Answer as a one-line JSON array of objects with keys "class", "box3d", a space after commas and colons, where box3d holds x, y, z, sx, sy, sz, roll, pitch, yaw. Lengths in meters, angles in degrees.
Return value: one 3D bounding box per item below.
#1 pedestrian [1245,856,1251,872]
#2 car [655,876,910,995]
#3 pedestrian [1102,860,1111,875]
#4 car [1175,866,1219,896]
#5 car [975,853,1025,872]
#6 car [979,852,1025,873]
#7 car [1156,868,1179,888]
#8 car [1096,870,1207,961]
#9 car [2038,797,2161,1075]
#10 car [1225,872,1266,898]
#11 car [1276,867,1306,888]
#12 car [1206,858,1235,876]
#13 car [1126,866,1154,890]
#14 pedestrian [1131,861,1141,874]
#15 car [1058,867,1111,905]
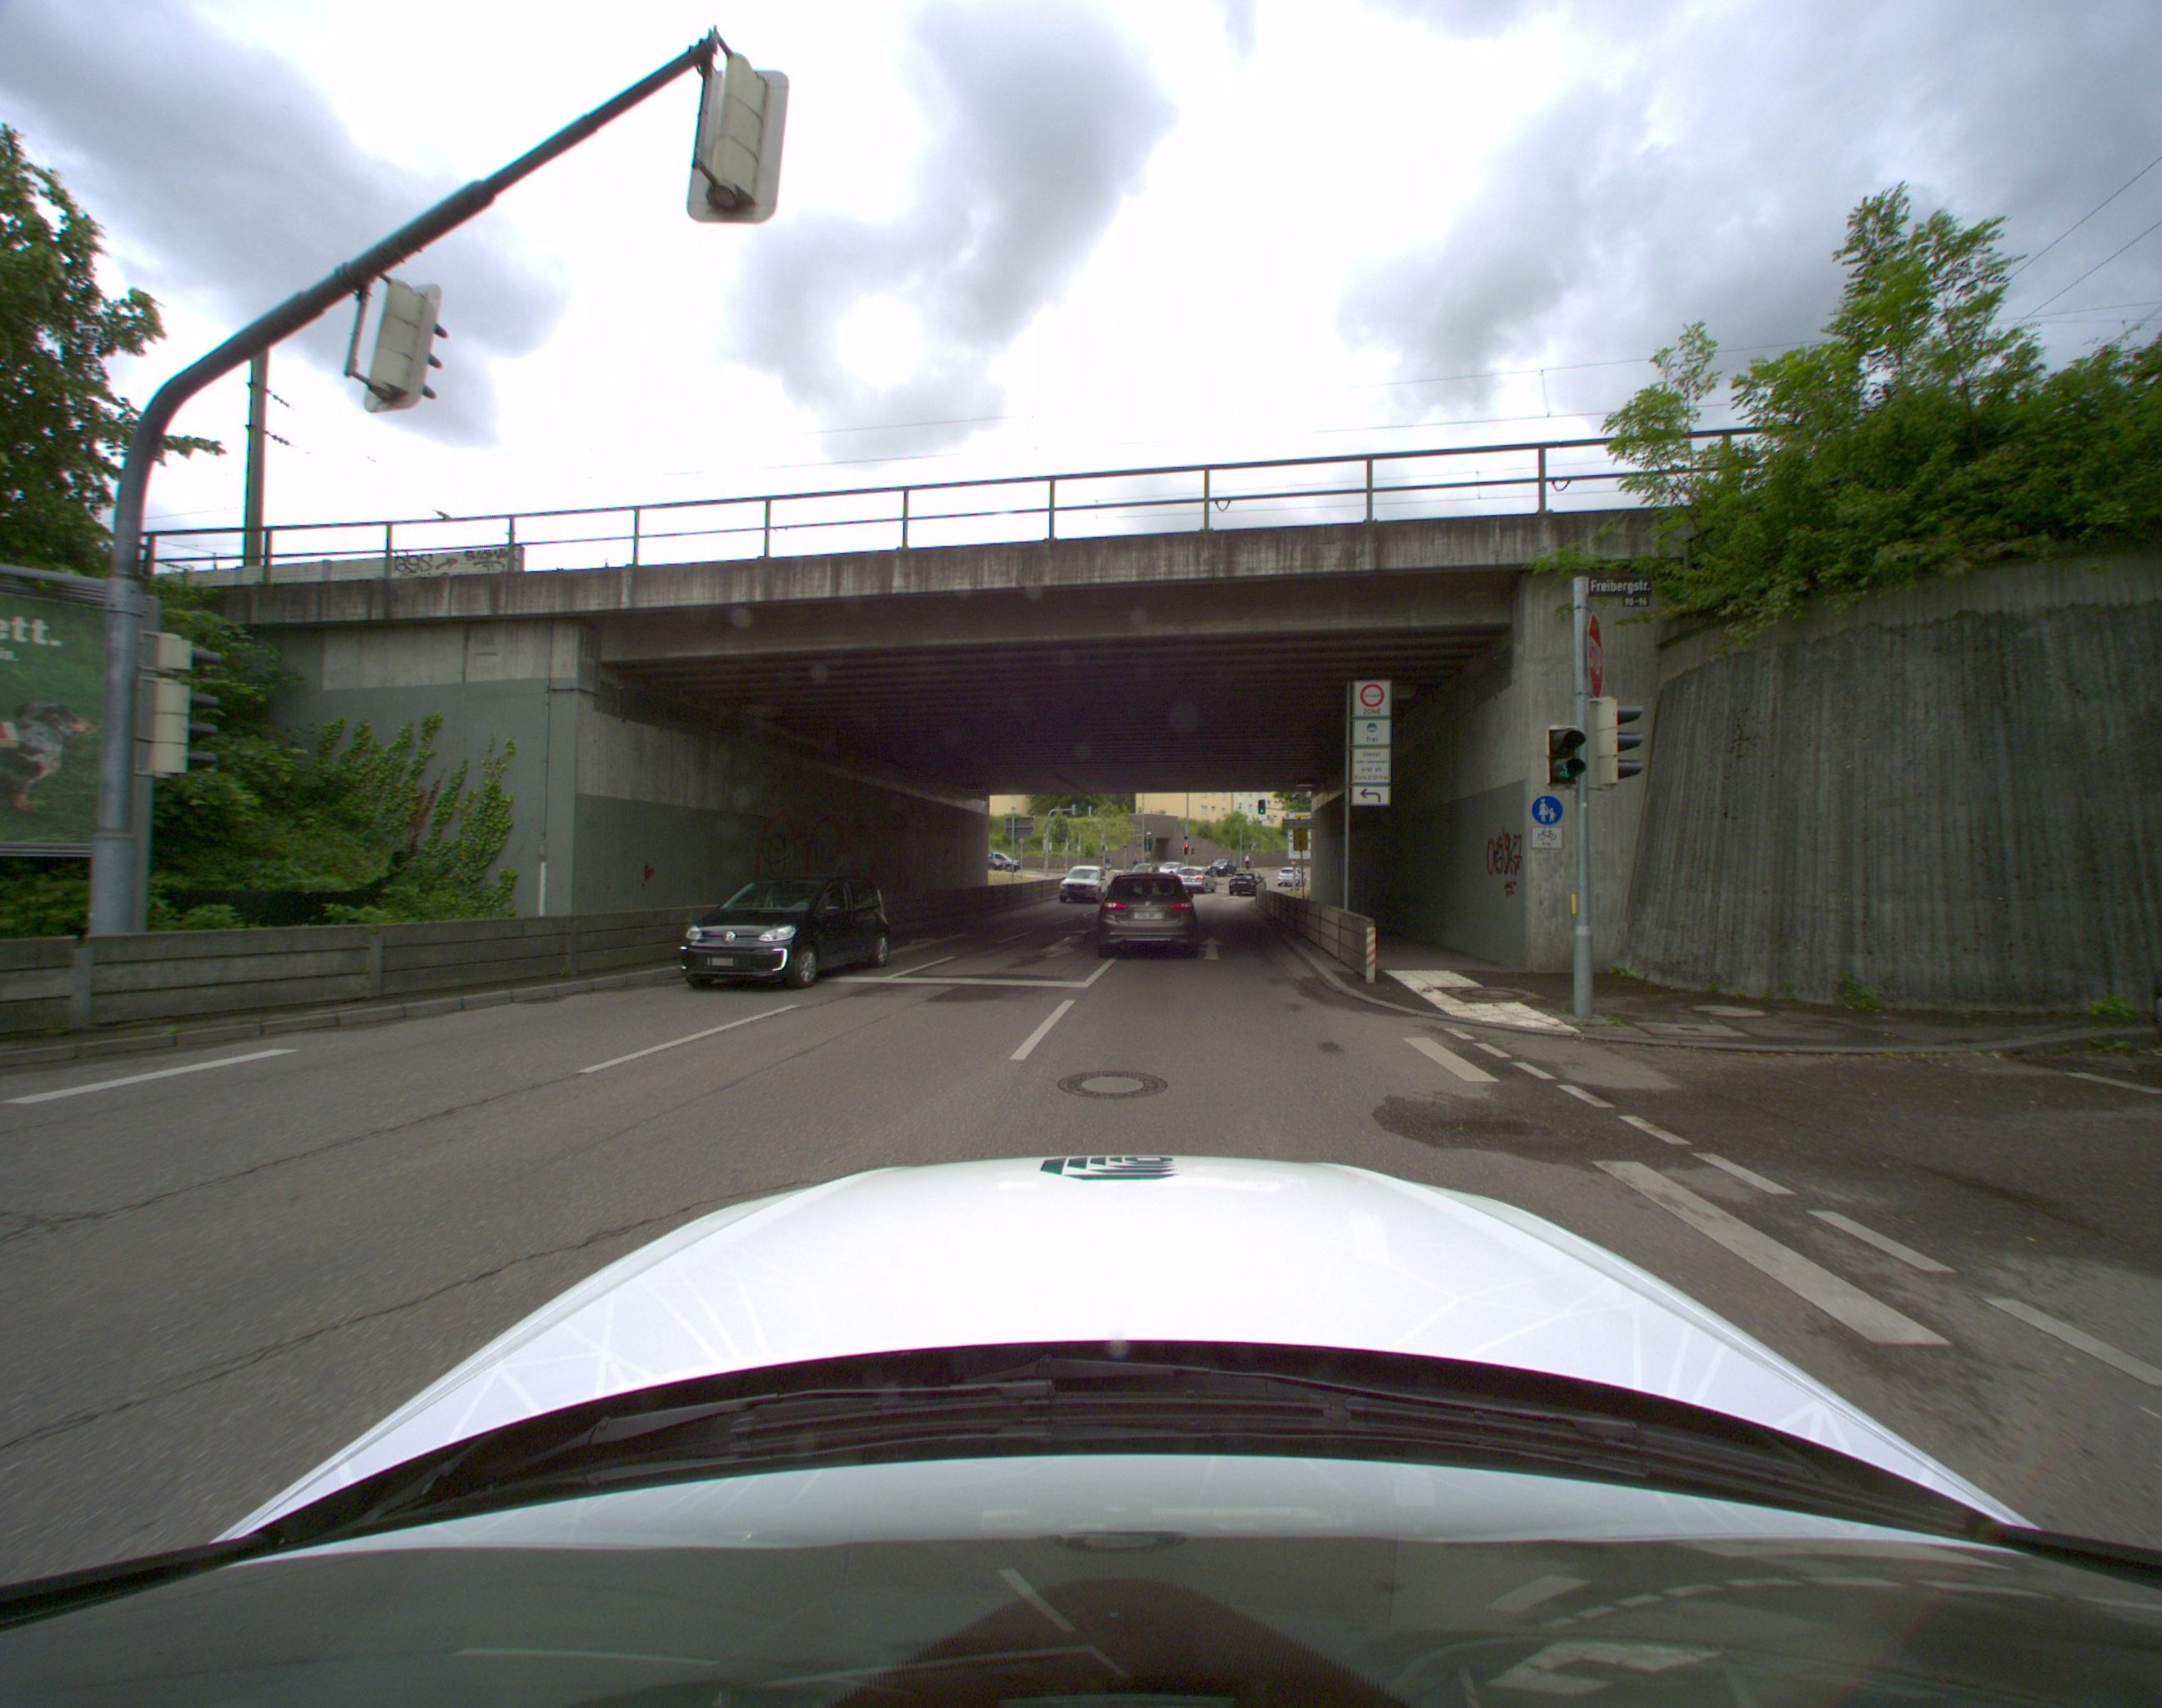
[{"class": "pedestrian", "box3d": [19.694, 1.148, 96.284, 0.599, 1.863, 0.600, 1, -1, 17]}, {"class": "car", "box3d": [-4.059, 1.034, 11.883, 1.713, 1.410, 4.010, 0, -2, 9]}, {"class": "pedestrian", "box3d": [2.819, 1.436, 89.203, 0.949, 1.613, 0.699, 1, 0, 0]}, {"class": "car", "box3d": [7.291, 1.661, 50.783, 1.814, 1.706, 3.888, 1, 0, 21]}, {"class": "car", "box3d": [-7.277, 0.732, 73.075, 3.959, 1.596, 1.879, 2, -1, 14]}, {"class": "car", "box3d": [-7.439, 0.827, 77.292, 3.965, 1.948, 2.004, 0, -1, 7]}, {"class": "car", "box3d": [7.471, 2.032, 69.859, 1.753, 1.592, 4.010, 0, -1, 9]}, {"class": "car", "box3d": [1.237, 1.073, 15.667, 1.838, 1.493, 4.001, 1, -1, 1]}, {"class": "car", "box3d": [9.132, 0.406, 4.822, 4.461, 1.785, 1.828, -3, -3, 3]}, {"class": "car", "box3d": [10.018, 1.838, 49.377, 1.884, 1.466, 4.020, 0, -1, 20]}, {"class": "car", "box3d": [16.825, 1.843, 65.218, 1.977, 1.618, 4.019, 0, -1, 20]}, {"class": "car", "box3d": [13.849, 1.272, 80.585, 1.976, 1.698, 4.189, 0, -1, 21]}, {"class": "car", "box3d": [4.305, 1.703, 59.123, 1.676, 1.708, 3.799, 0, -1, 9]}, {"class": "pedestrian", "box3d": [5.633, 1.370, 83.745, 0.907, 1.224, 0.729, 4, 0, 1]}, {"class": "car", "box3d": [0.236, 1.453, 37.954, 1.772, 1.660, 4.119, 1, -1, 10]}]
